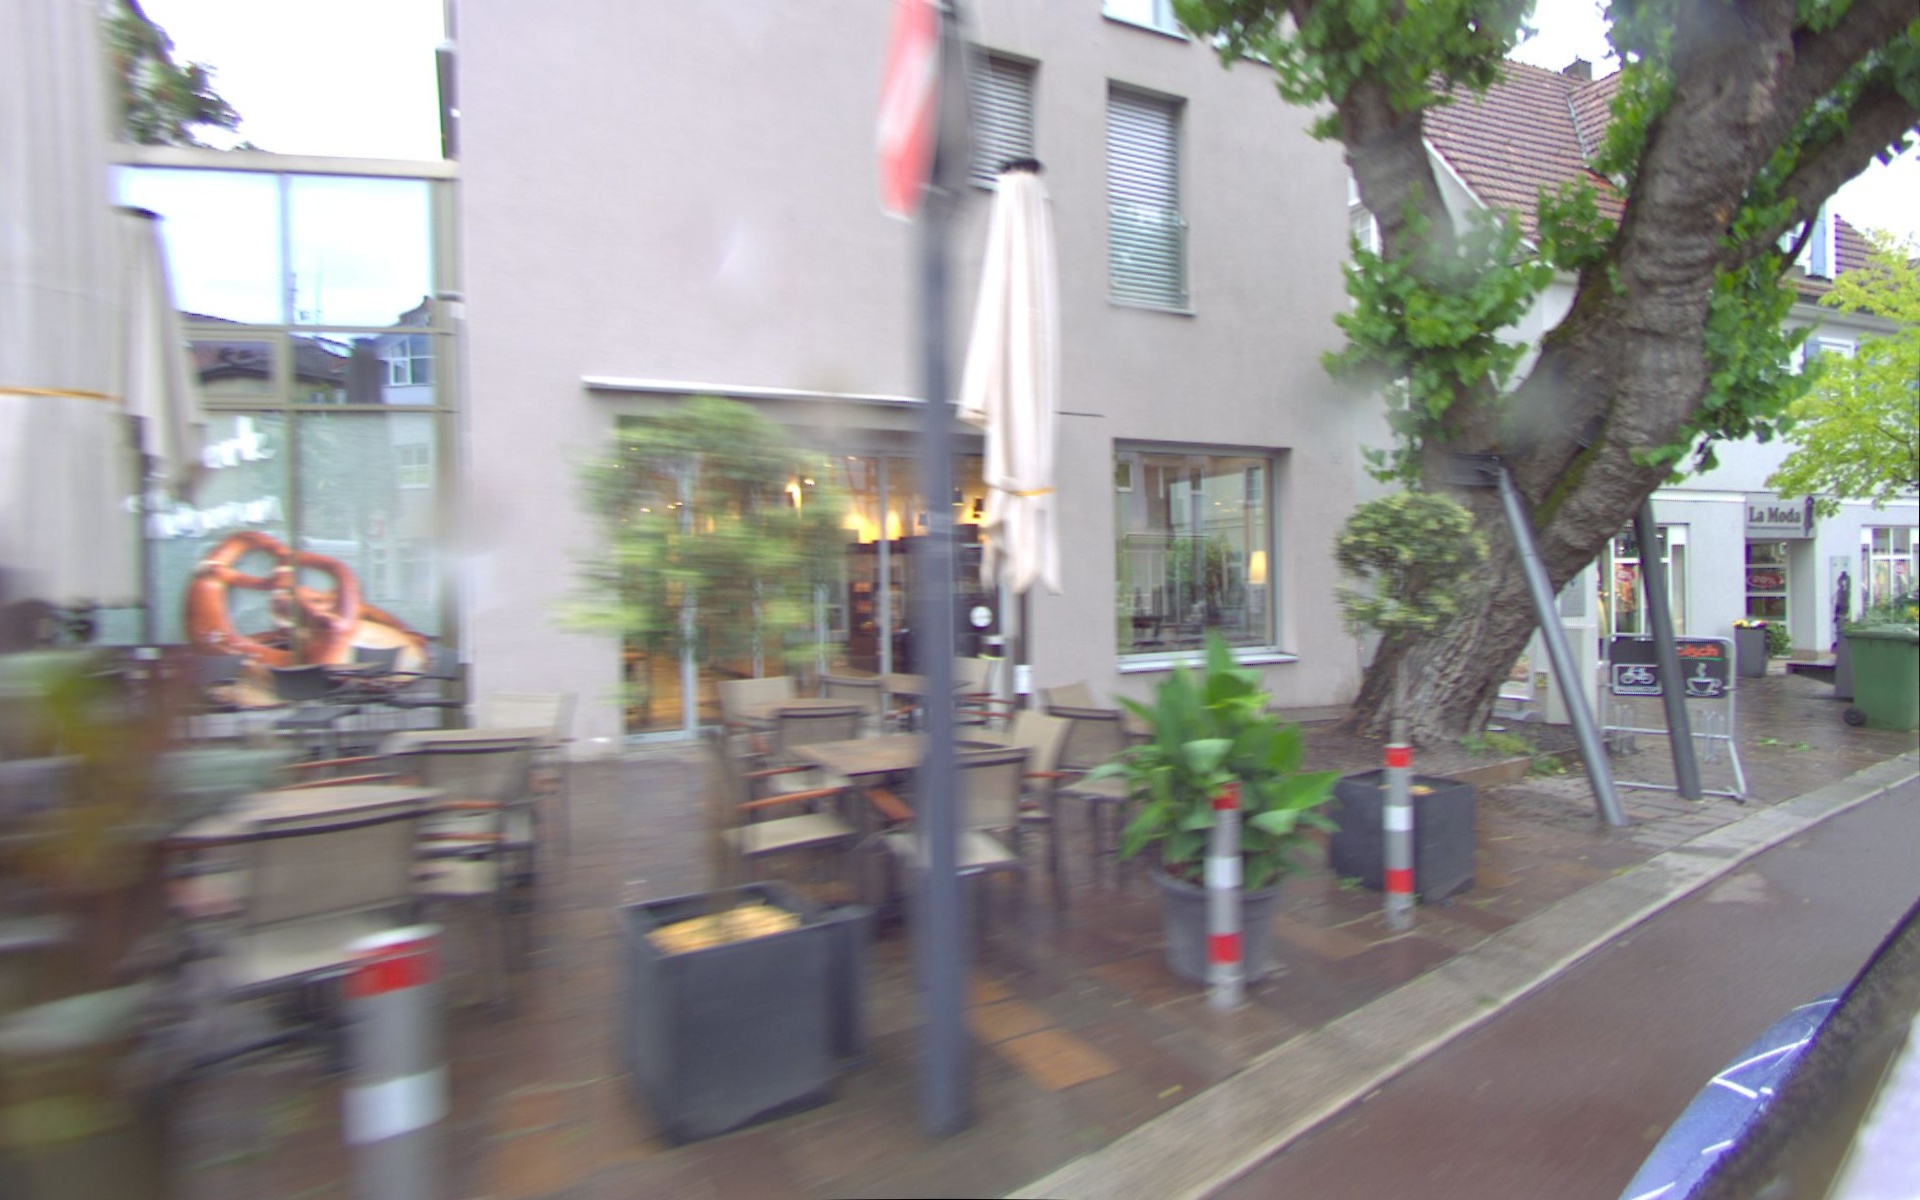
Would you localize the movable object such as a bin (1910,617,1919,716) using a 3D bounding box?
[{"bbox_3d":[11.307,0.757,11.442,0.550,1.115,0.695,-2,1,-31],"label":"movable object such as a bin"}]

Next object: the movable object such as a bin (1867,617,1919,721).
[{"bbox_3d":[10.717,0.763,11.302,0.550,1.115,0.732,-2,1,-31],"label":"movable object such as a bin"}]

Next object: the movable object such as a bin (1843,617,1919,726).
[{"bbox_3d":[10.068,0.754,10.869,0.565,1.093,0.732,-2,1,-31],"label":"movable object such as a bin"}]
